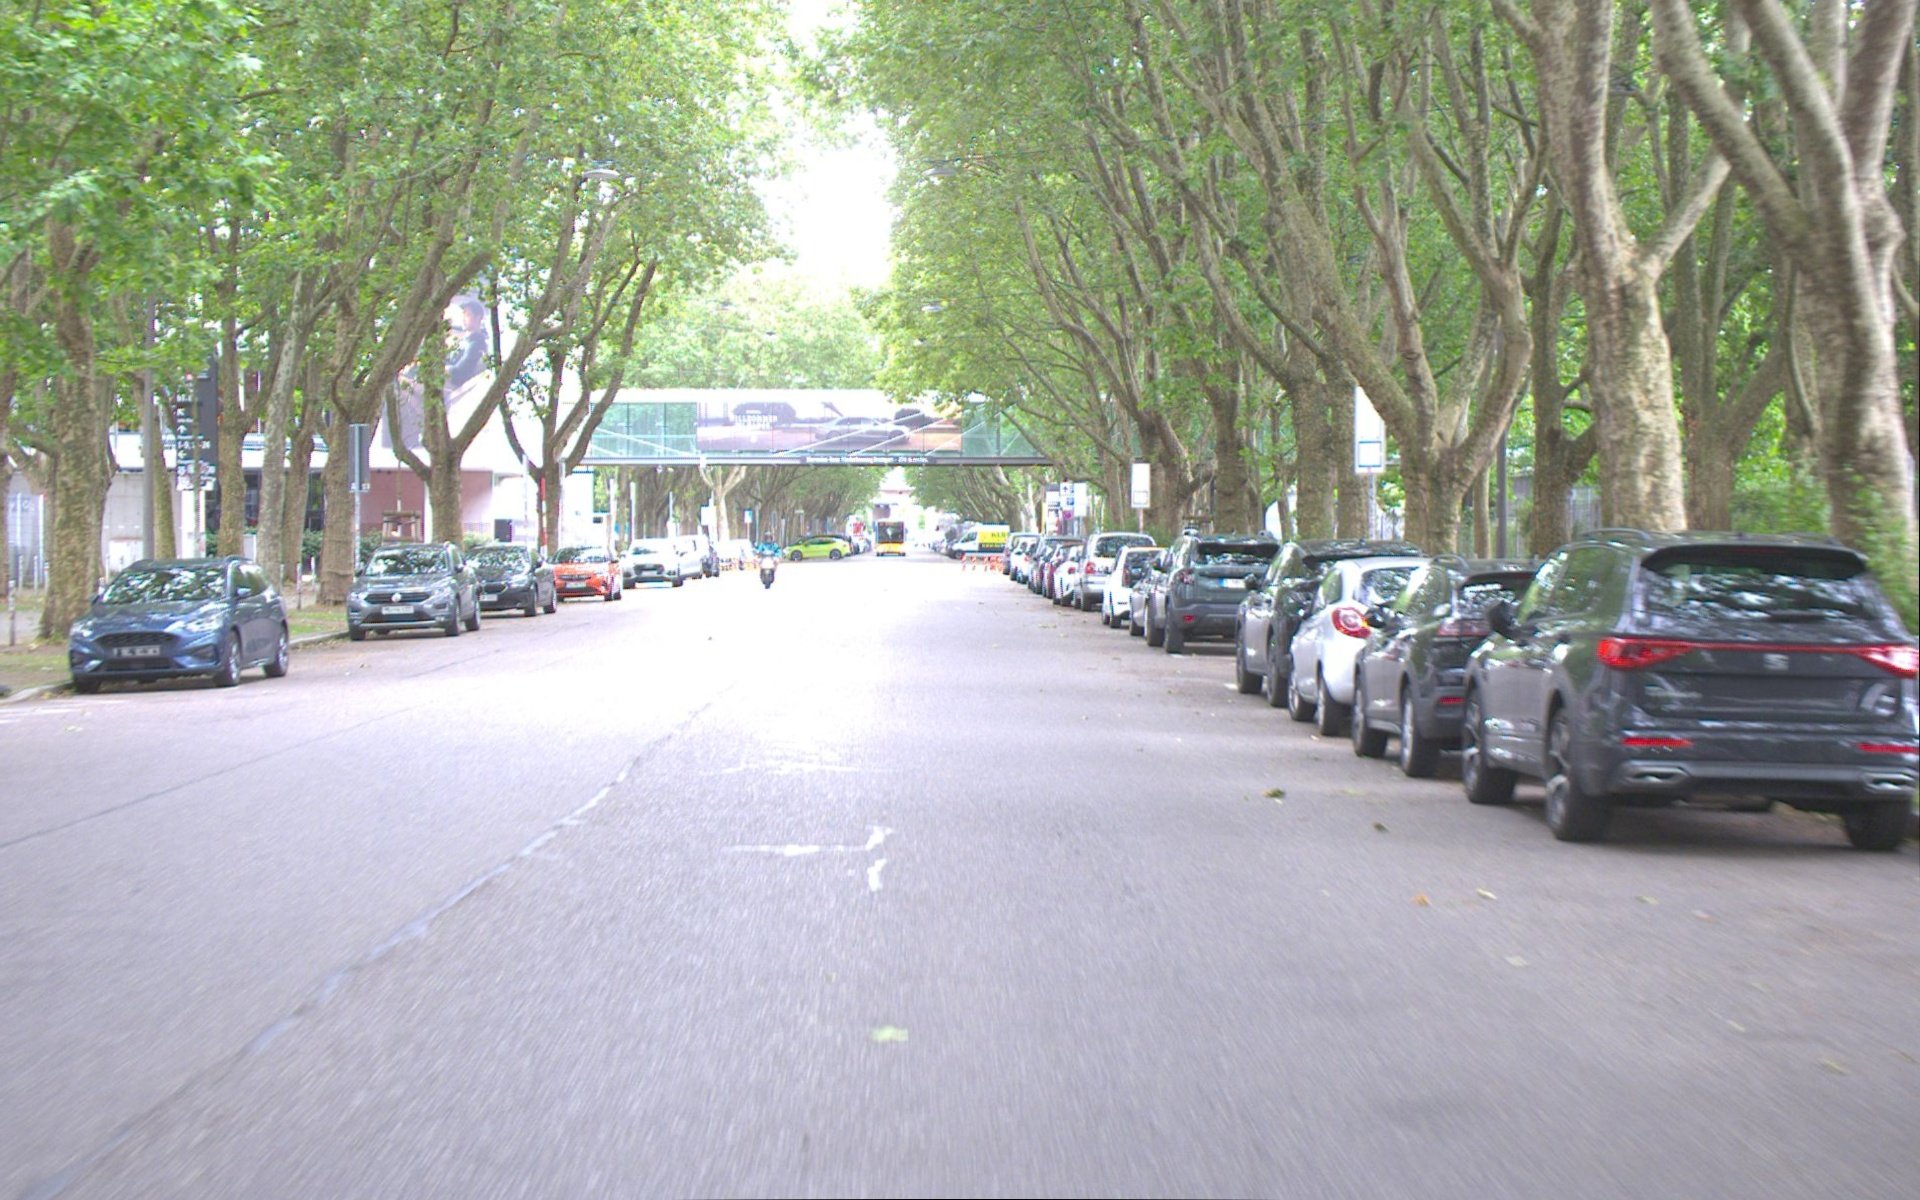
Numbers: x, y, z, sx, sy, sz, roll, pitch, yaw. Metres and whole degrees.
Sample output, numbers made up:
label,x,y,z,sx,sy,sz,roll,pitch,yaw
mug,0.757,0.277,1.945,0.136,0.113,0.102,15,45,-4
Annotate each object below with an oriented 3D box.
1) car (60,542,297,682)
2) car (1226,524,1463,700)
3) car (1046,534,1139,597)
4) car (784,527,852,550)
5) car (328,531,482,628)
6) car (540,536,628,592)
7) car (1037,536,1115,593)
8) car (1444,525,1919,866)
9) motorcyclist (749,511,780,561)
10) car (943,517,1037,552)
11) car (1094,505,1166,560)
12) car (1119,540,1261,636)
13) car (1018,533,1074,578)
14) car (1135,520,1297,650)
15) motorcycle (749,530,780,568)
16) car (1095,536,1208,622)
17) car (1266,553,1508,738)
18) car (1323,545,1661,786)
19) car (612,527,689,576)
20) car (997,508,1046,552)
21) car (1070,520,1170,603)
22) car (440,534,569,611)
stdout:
label,x,y,z,sx,sy,sz,roll,pitch,yaw
car,-8.897,0.089,39.471,1.724,1.481,4.575,0,1,-1
car,3.863,0.072,35.248,1.777,1.667,4.638,0,1,-2
car,3.073,-0.841,80.640,1.877,1.422,4.586,0,1,-1
car,-10.104,-4.354,244.615,4.700,1.579,1.864,0,1,1
car,-9.161,-0.373,57.038,1.878,1.521,4.151,-1,1,0
car,-9.474,-0.923,86.808,1.808,1.349,4.000,0,1,0
car,3.066,-0.964,91.858,1.856,1.476,4.178,1,1,-1
car,3.923,0.425,19.089,1.755,1.614,4.439,2,1,0
motorcyclist,-5.745,-1.885,101.083,0.870,1.475,1.265,0,1,-4
car,2.196,-4.861,254.643,6.822,2.505,2.317,0,1,-2
car,4.893,-1.969,99.403,1.802,1.550,4.001,0,2,-1
car,3.583,-0.219,54.273,1.707,1.410,4.362,1,1,-3
car,2.982,-1.562,119.915,1.807,1.521,4.096,0,1,0
car,3.553,-0.246,48.423,1.707,1.692,4.631,2,1,-2
motorcycle,-5.756,-1.506,101.095,0.873,1.075,3.053,0,1,-4
car,3.376,-0.396,61.223,1.707,1.422,3.889,2,1,-1
car,3.682,0.348,30.150,1.616,1.436,3.710,2,1,0
car,3.713,0.392,24.709,1.668,1.504,4.354,2,1,0
car,-9.960,-1.579,110.940,2.073,1.557,4.756,0,1,0
car,2.571,-2.913,144.350,1.847,1.777,5.211,2,1,-1
car,3.465,-0.859,75.021,1.903,1.733,4.507,1,1,-1
car,-9.089,-0.571,68.883,1.827,1.460,4.627,-1,1,2
